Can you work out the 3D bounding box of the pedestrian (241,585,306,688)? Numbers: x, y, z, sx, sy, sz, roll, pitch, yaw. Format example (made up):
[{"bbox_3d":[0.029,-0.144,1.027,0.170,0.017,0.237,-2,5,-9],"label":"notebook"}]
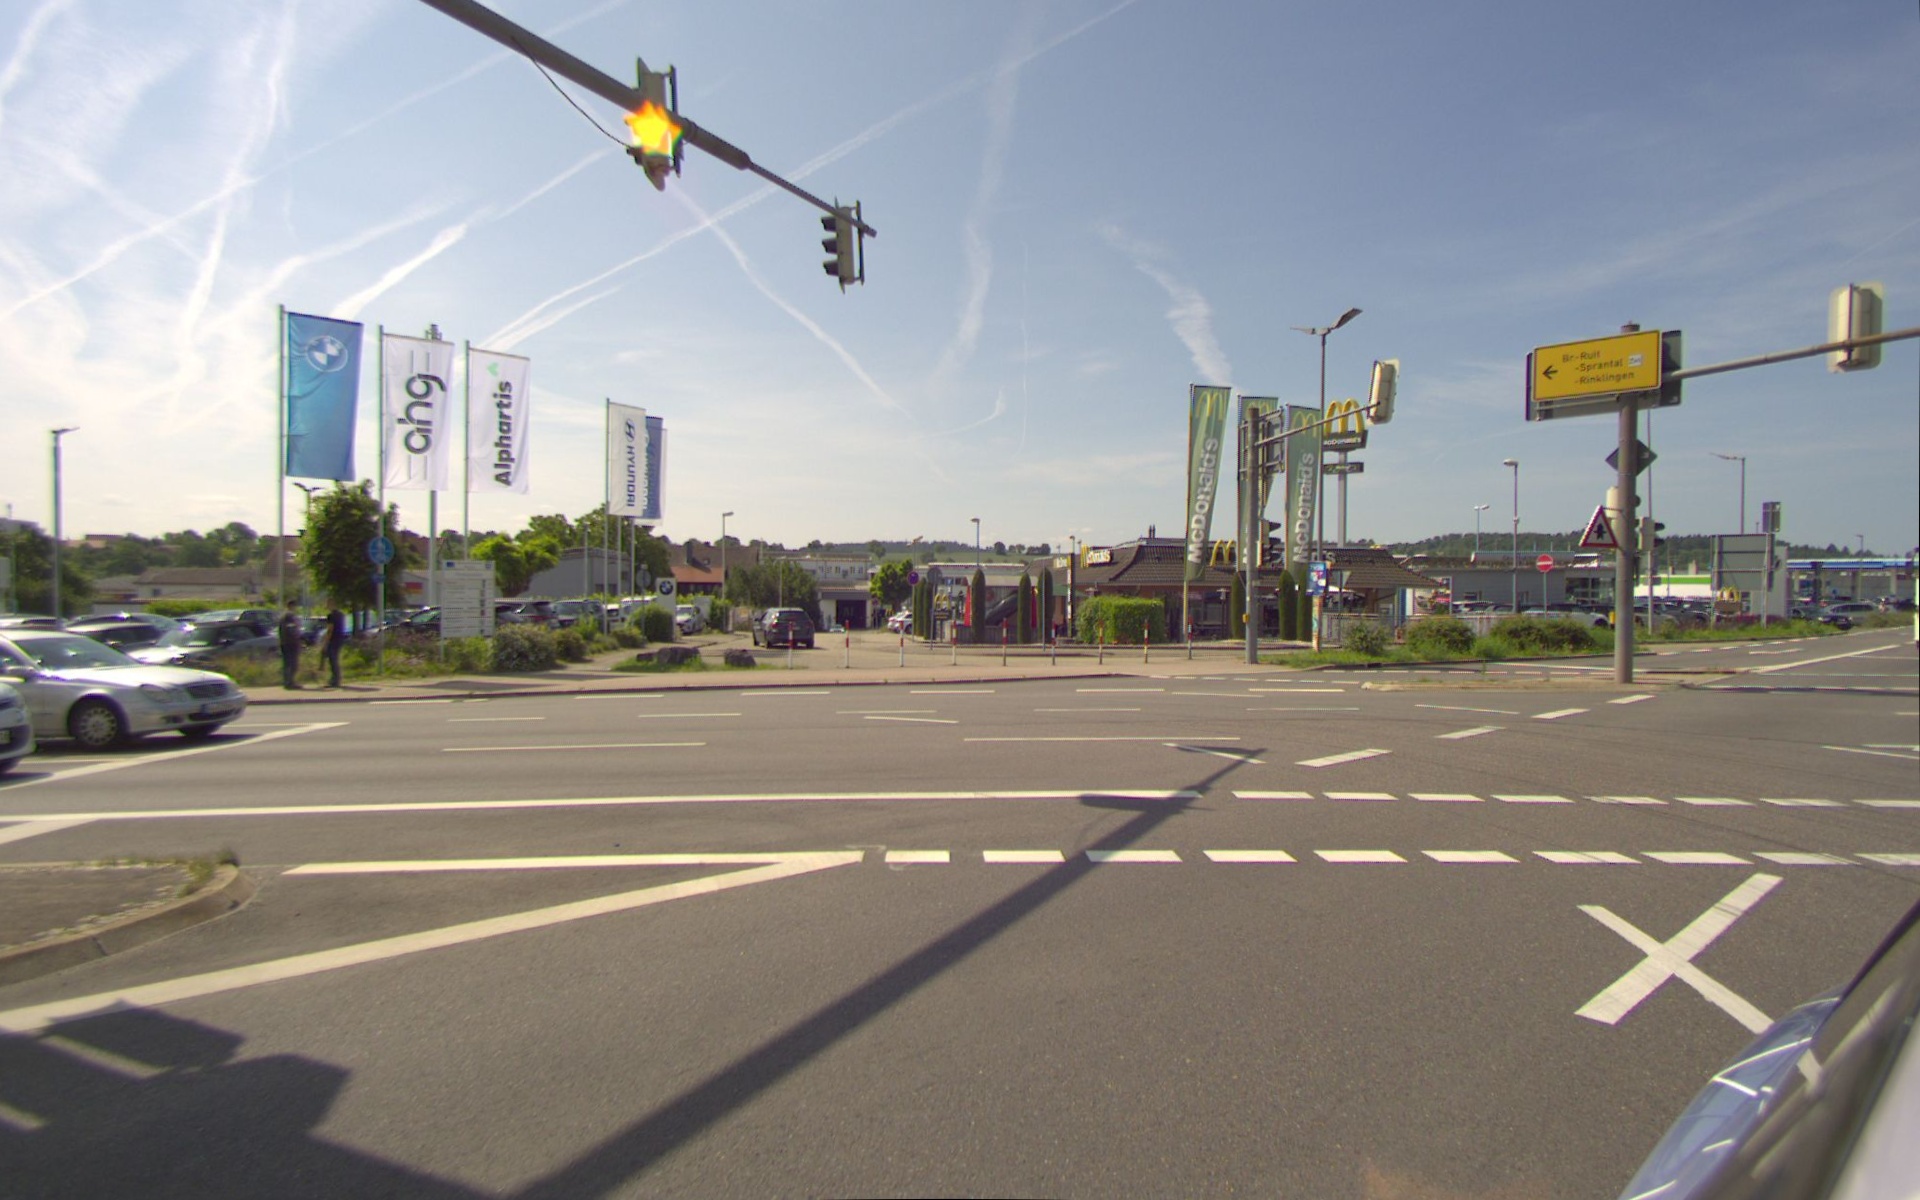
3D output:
[{"bbox_3d":[-13.766,0.713,20.307,0.861,2.039,0.665,0,0,-4],"label":"pedestrian"}]

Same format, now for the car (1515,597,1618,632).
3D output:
[{"bbox_3d":[30.906,0.719,51.656,4.149,1.596,1.863,1,1,-4],"label":"car"}]

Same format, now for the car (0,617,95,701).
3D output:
[{"bbox_3d":[-22.711,1.373,23.518,1.961,1.749,4.004,1,1,-3],"label":"car"}]

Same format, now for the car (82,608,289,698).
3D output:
[{"bbox_3d":[-17.944,1.152,23.730,1.961,1.745,4.004,1,1,-3],"label":"car"}]

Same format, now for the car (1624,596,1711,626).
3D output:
[{"bbox_3d":[44.215,0.645,63.321,3.940,1.691,1.913,2,1,14],"label":"car"}]

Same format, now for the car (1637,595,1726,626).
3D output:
[{"bbox_3d":[43.438,0.611,61.057,3.975,1.691,1.765,2,1,20],"label":"car"}]

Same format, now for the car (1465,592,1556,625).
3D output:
[{"bbox_3d":[30.650,0.461,56.372,4.087,1.691,1.778,1,1,-4],"label":"car"}]

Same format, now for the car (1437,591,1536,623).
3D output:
[{"bbox_3d":[30.435,0.393,58.607,4.722,1.691,1.914,1,1,-4],"label":"car"}]

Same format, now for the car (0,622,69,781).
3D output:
[{"bbox_3d":[-11.169,1.042,9.730,3.683,1.523,1.711,-2,0,-1],"label":"car"}]

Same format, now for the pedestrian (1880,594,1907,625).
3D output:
[{"bbox_3d":[60.712,0.613,65.839,0.975,1.935,0.740,2,1,16],"label":"pedestrian"}]

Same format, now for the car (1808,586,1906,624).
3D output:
[{"bbox_3d":[57.921,0.288,65.409,4.297,2.240,1.752,2,1,21],"label":"car"}]

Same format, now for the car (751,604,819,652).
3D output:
[{"bbox_3d":[-6.600,1.002,37.823,1.958,1.538,4.460,1,2,-17],"label":"car"}]

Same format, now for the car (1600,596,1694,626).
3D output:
[{"bbox_3d":[38.997,0.622,57.508,4.179,1.510,1.751,1,1,-4],"label":"car"}]

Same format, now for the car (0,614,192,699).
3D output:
[{"bbox_3d":[-20.320,1.242,23.605,1.961,1.593,4.004,1,2,-3],"label":"car"}]

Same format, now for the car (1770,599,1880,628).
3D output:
[{"bbox_3d":[46.159,0.751,54.189,1.931,1.350,4.808,-3,-2,5],"label":"car"}]

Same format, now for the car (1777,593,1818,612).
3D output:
[{"bbox_3d":[77.448,0.256,93.573,4.451,1.675,1.777,0,2,-35],"label":"car"}]

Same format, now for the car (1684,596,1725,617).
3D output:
[{"bbox_3d":[61.845,0.514,84.063,4.463,1.675,1.965,0,2,-44],"label":"car"}]

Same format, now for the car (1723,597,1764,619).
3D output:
[{"bbox_3d":[63.654,0.588,82.205,4.632,1.675,1.904,0,2,-44],"label":"car"}]

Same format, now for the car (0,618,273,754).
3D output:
[{"bbox_3d":[-11.906,1.076,12.929,4.904,1.524,2.000,-2,-1,-1],"label":"car"}]

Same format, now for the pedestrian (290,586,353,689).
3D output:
[{"bbox_3d":[-12.830,0.733,20.359,0.861,2.039,0.665,0,0,-4],"label":"pedestrian"}]
